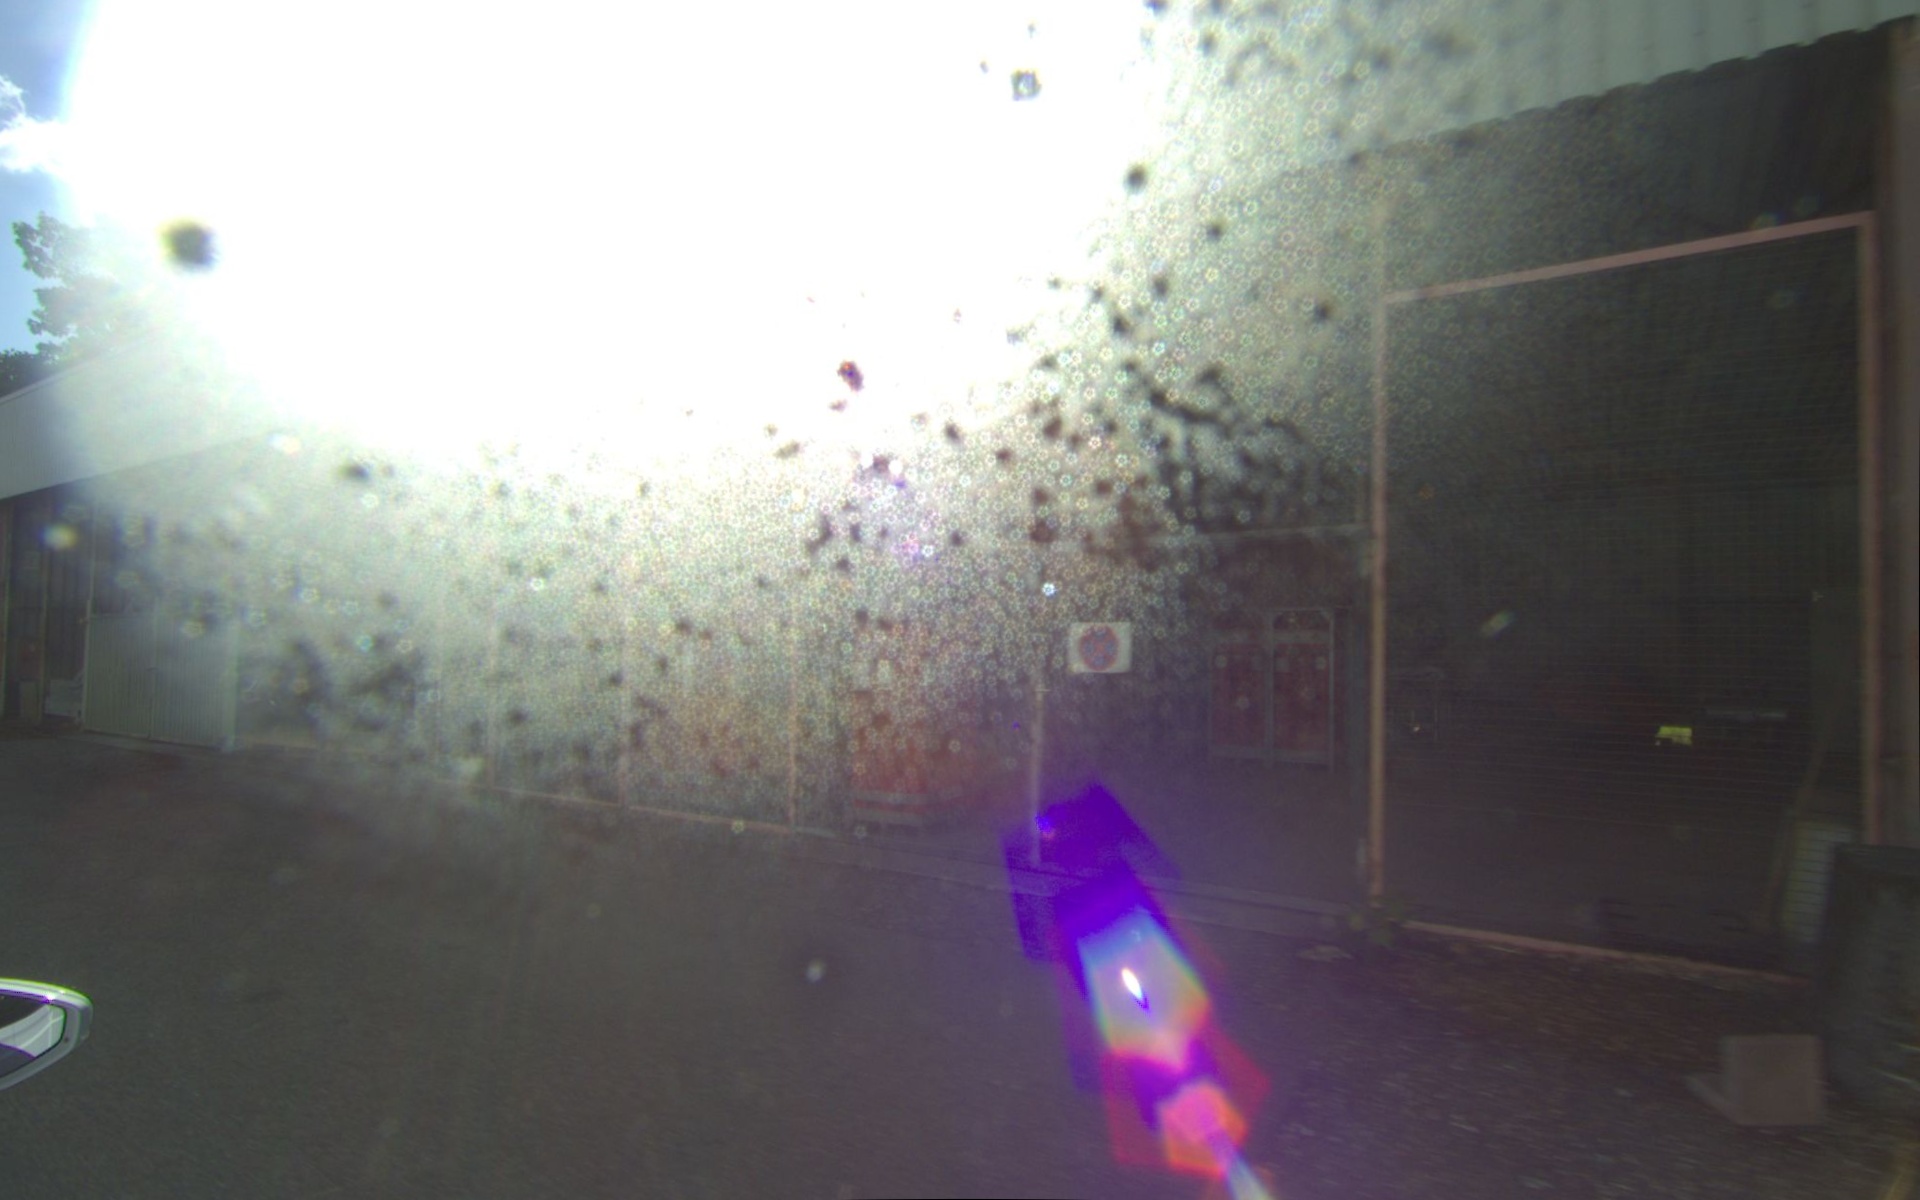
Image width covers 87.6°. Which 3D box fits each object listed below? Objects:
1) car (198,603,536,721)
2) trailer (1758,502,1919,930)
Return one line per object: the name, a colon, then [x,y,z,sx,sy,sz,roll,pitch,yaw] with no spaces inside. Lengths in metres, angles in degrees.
car: [-10.911,1.136,18.947,1.969,1.900,5.237,0,-3,28]
trailer: [6.542,0.574,4.789,4.040,2.084,1.852,-1,-2,32]
